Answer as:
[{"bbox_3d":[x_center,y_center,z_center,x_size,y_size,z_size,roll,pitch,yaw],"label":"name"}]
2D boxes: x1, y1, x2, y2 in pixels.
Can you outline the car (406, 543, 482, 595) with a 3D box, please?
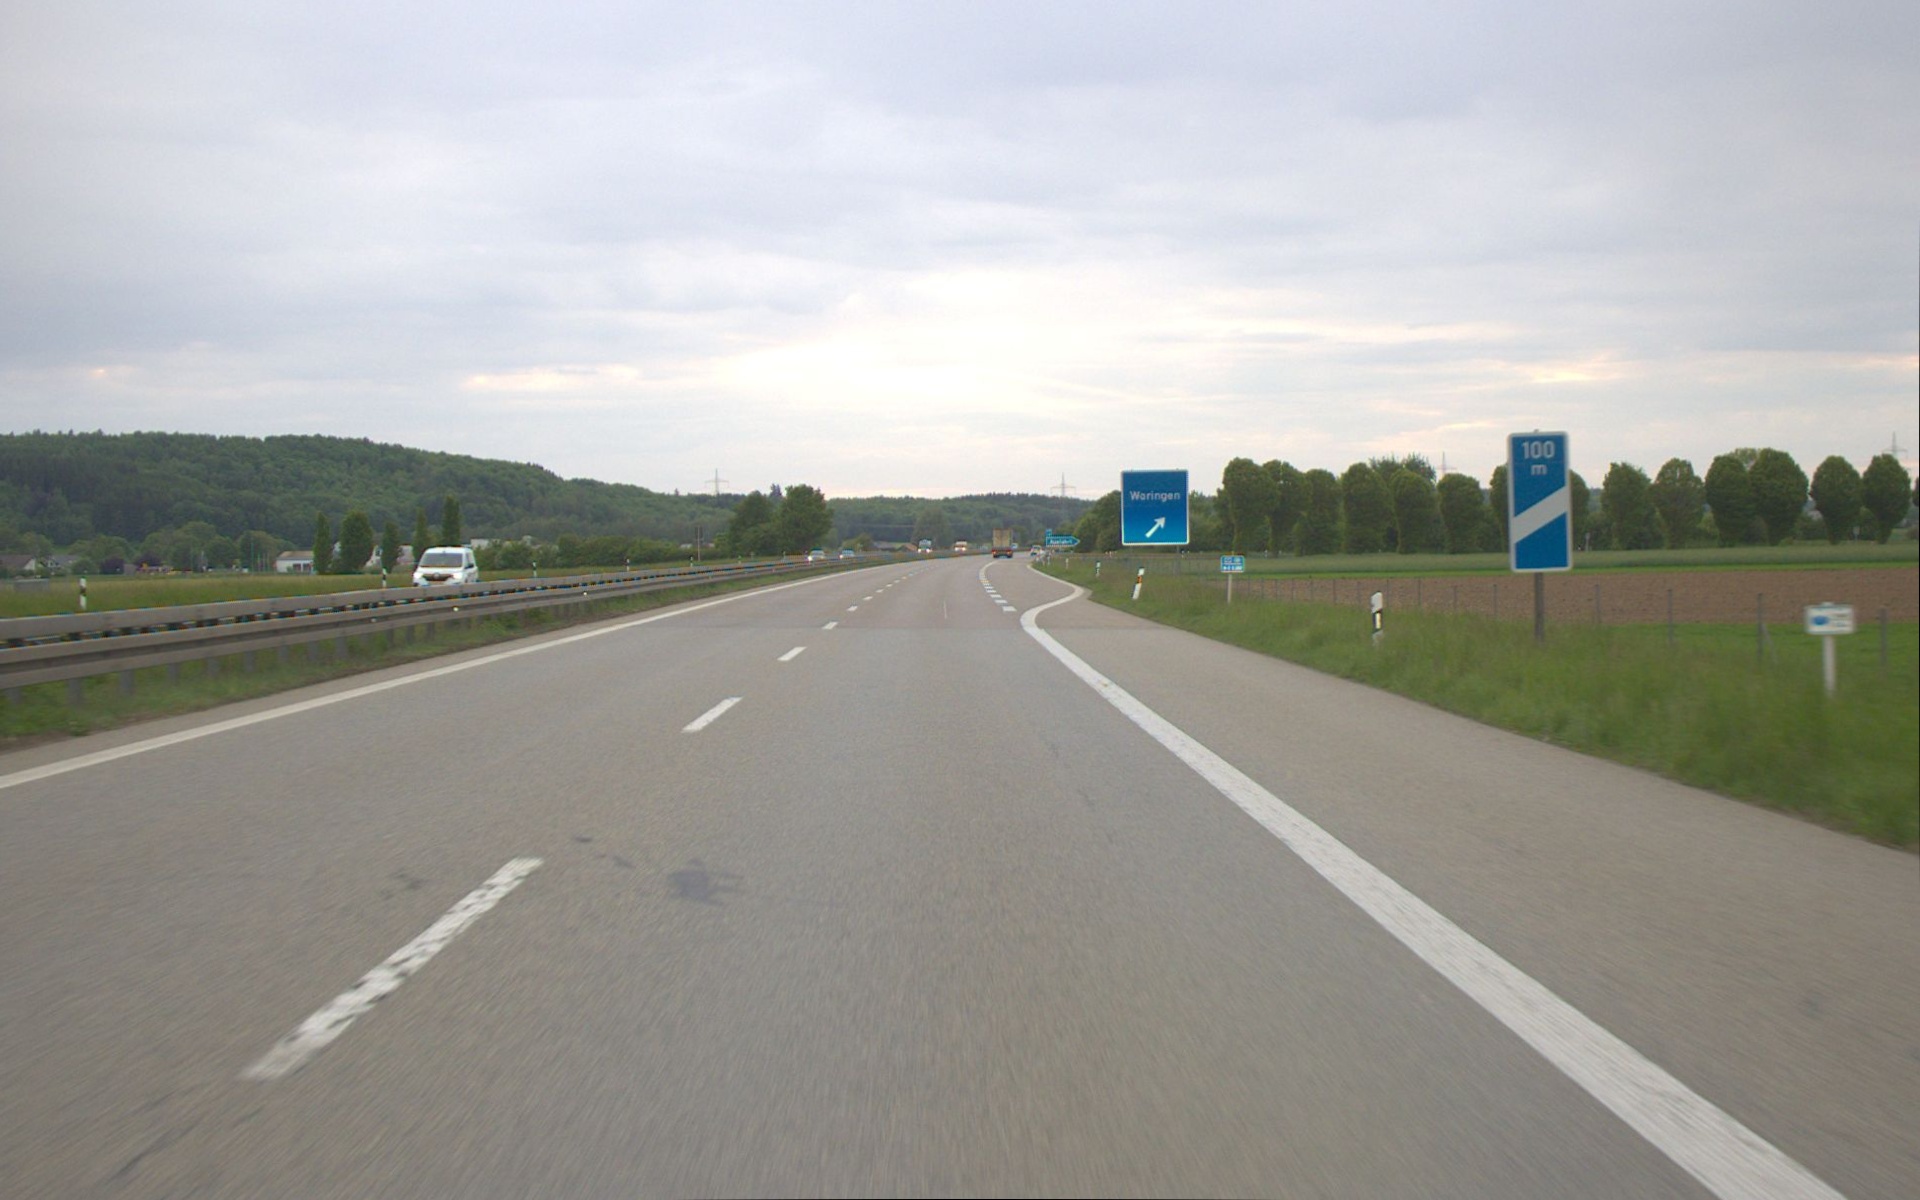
[{"bbox_3d":[-18.165,-1.099,121.134,1.993,1.759,4.952,1,1,-1],"label":"car"}]
